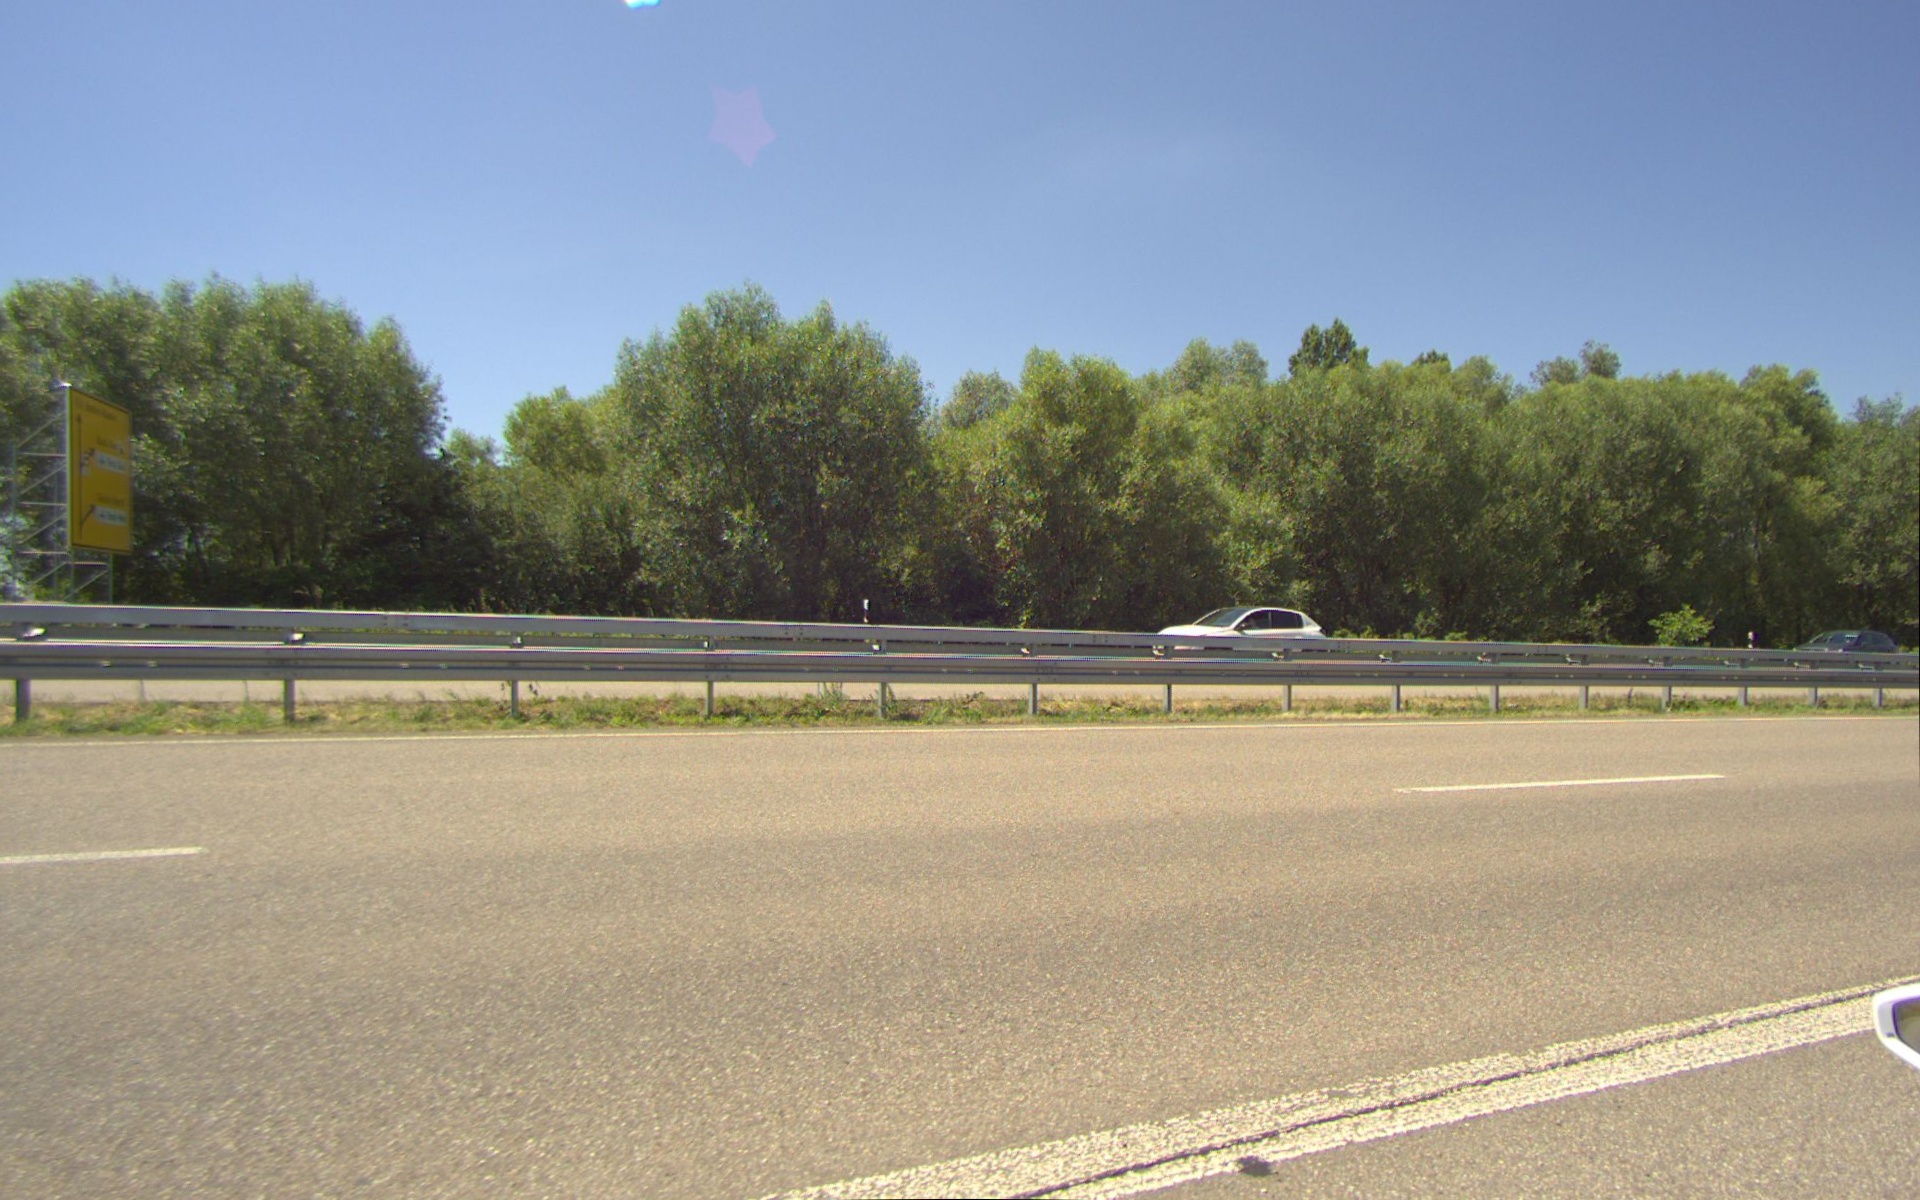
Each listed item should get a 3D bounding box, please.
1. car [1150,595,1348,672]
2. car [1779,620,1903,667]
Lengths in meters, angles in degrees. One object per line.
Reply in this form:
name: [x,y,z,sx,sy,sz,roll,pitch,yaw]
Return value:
car: [6.330,0.731,22.044,3.941,1.524,1.706,2,0,-21]
car: [31.783,1.569,36.237,4.015,1.572,1.686,2,0,-22]
